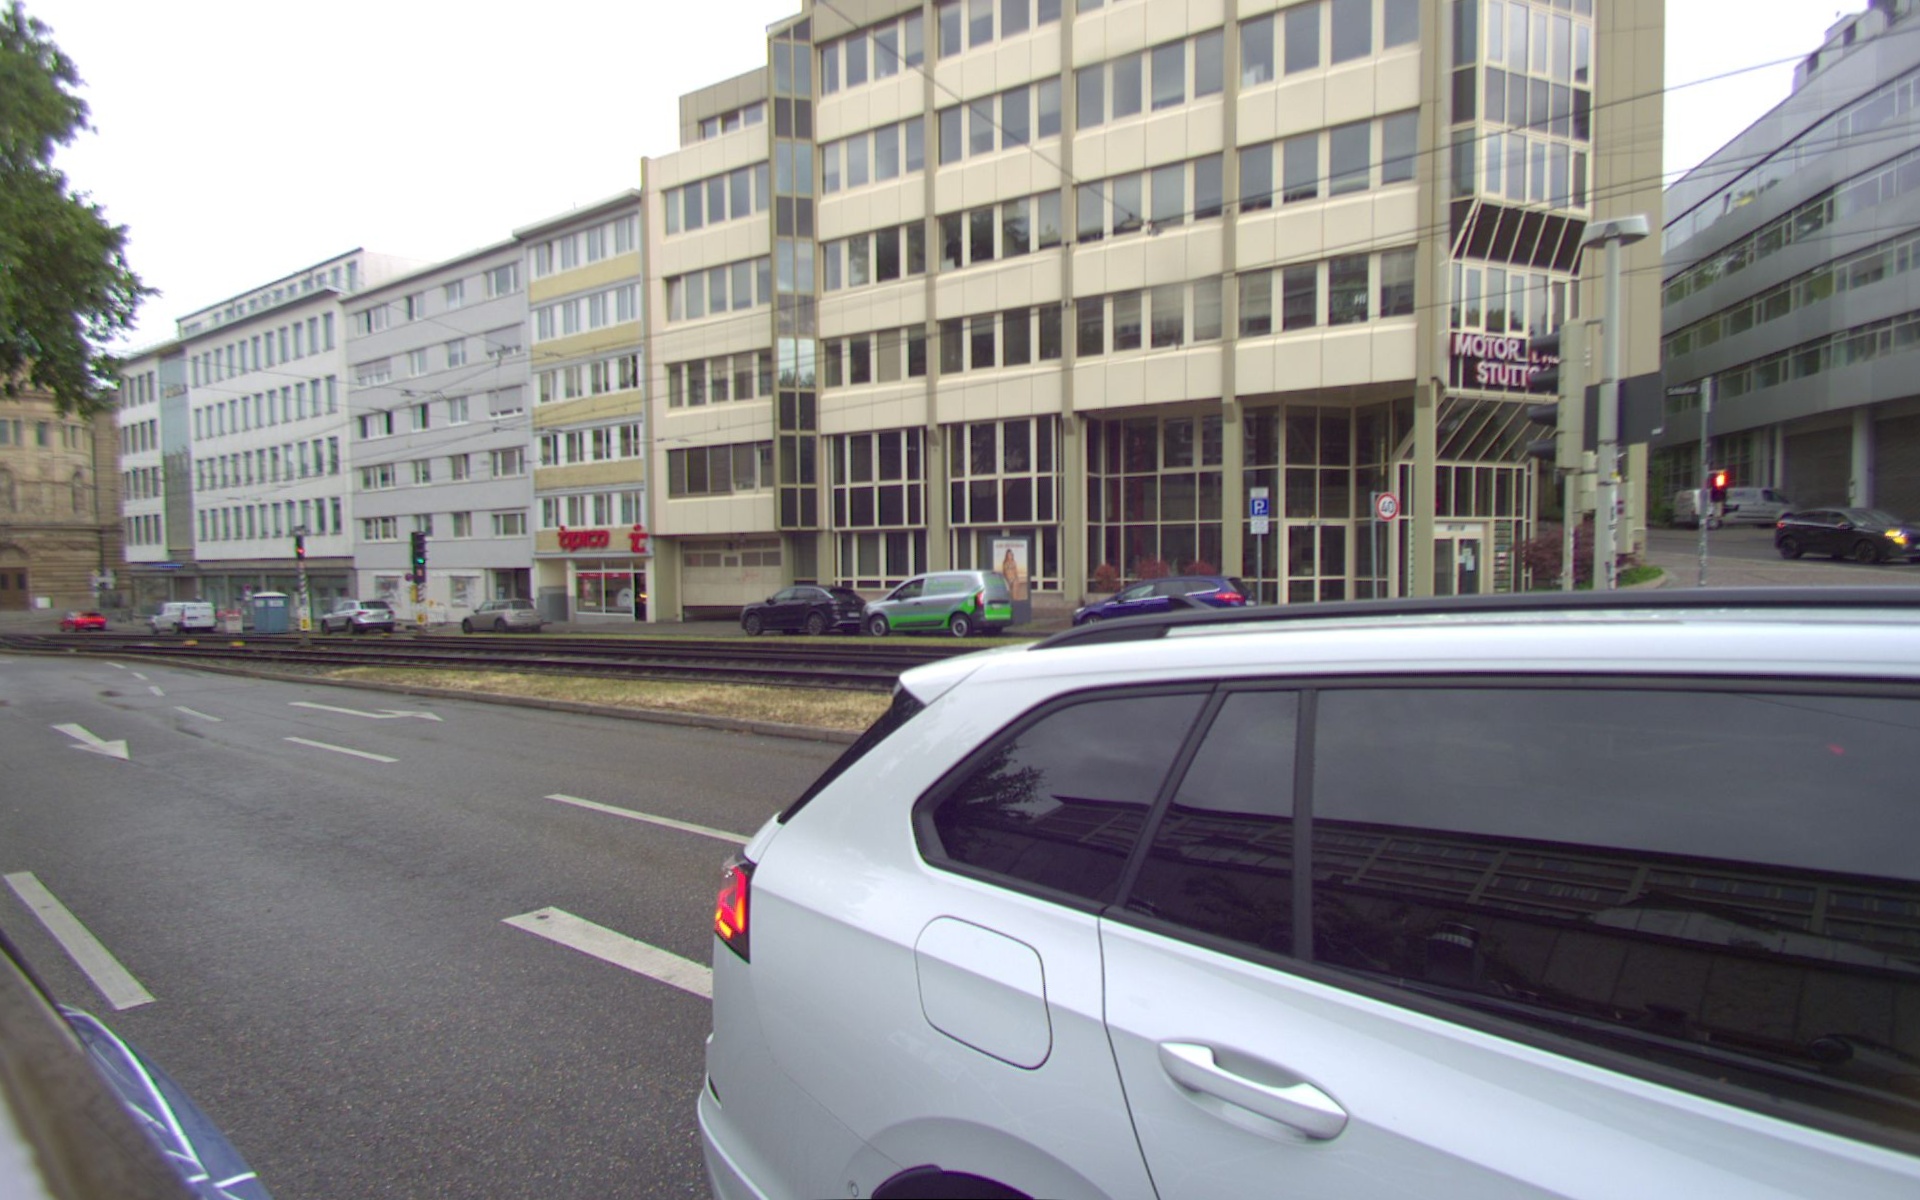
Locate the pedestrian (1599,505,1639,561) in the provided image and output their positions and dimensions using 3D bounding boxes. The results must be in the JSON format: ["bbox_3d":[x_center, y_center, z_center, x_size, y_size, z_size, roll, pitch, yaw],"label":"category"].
[{"bbox_3d":[21.501,-2.177,33.039,0.821,1.800,0.759,-2,3,6],"label":"pedestrian"}]

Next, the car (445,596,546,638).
[{"bbox_3d":[-18.720,0.663,40.712,4.066,1.524,1.782,-1,3,34],"label":"car"}]

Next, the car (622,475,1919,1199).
[{"bbox_3d":[1.605,0.621,1.166,4.473,1.453,1.777,-1,0,41],"label":"car"}]

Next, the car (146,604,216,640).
[{"bbox_3d":[-46.556,1.284,60.458,4.465,1.949,1.869,-1,3,34],"label":"car"}]

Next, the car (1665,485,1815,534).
[{"bbox_3d":[37.621,-4.344,48.943,5.357,2.029,1.993,-1,0,12],"label":"car"}]

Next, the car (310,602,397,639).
[{"bbox_3d":[-28.317,0.945,47.214,4.066,1.524,1.869,-1,3,34],"label":"car"}]

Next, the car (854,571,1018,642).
[{"bbox_3d":[-0.681,0.168,27.870,4.204,1.759,1.782,-1,2,33],"label":"car"}]

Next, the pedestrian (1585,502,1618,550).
[{"bbox_3d":[22.660,-2.611,35.769,0.711,1.651,0.759,-2,3,6],"label":"pedestrian"}]

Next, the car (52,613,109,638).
[{"bbox_3d":[-62.214,1.772,71.562,4.465,1.636,1.869,-1,3,34],"label":"car"}]

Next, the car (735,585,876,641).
[{"bbox_3d":[-4.722,0.377,30.760,4.066,1.524,1.782,-1,3,34],"label":"car"}]

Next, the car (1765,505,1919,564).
[{"bbox_3d":[27.524,-2.050,31.017,1.974,1.591,4.884,-2,5,3],"label":"car"}]

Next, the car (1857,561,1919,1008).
[{"bbox_3d":[5.294,0.573,2.564,4.473,1.453,1.777,-1,0,41],"label":"car"}]

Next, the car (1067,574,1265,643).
[{"bbox_3d":[4.811,0.192,23.856,4.207,1.488,1.780,-1,0,35],"label":"car"}]
